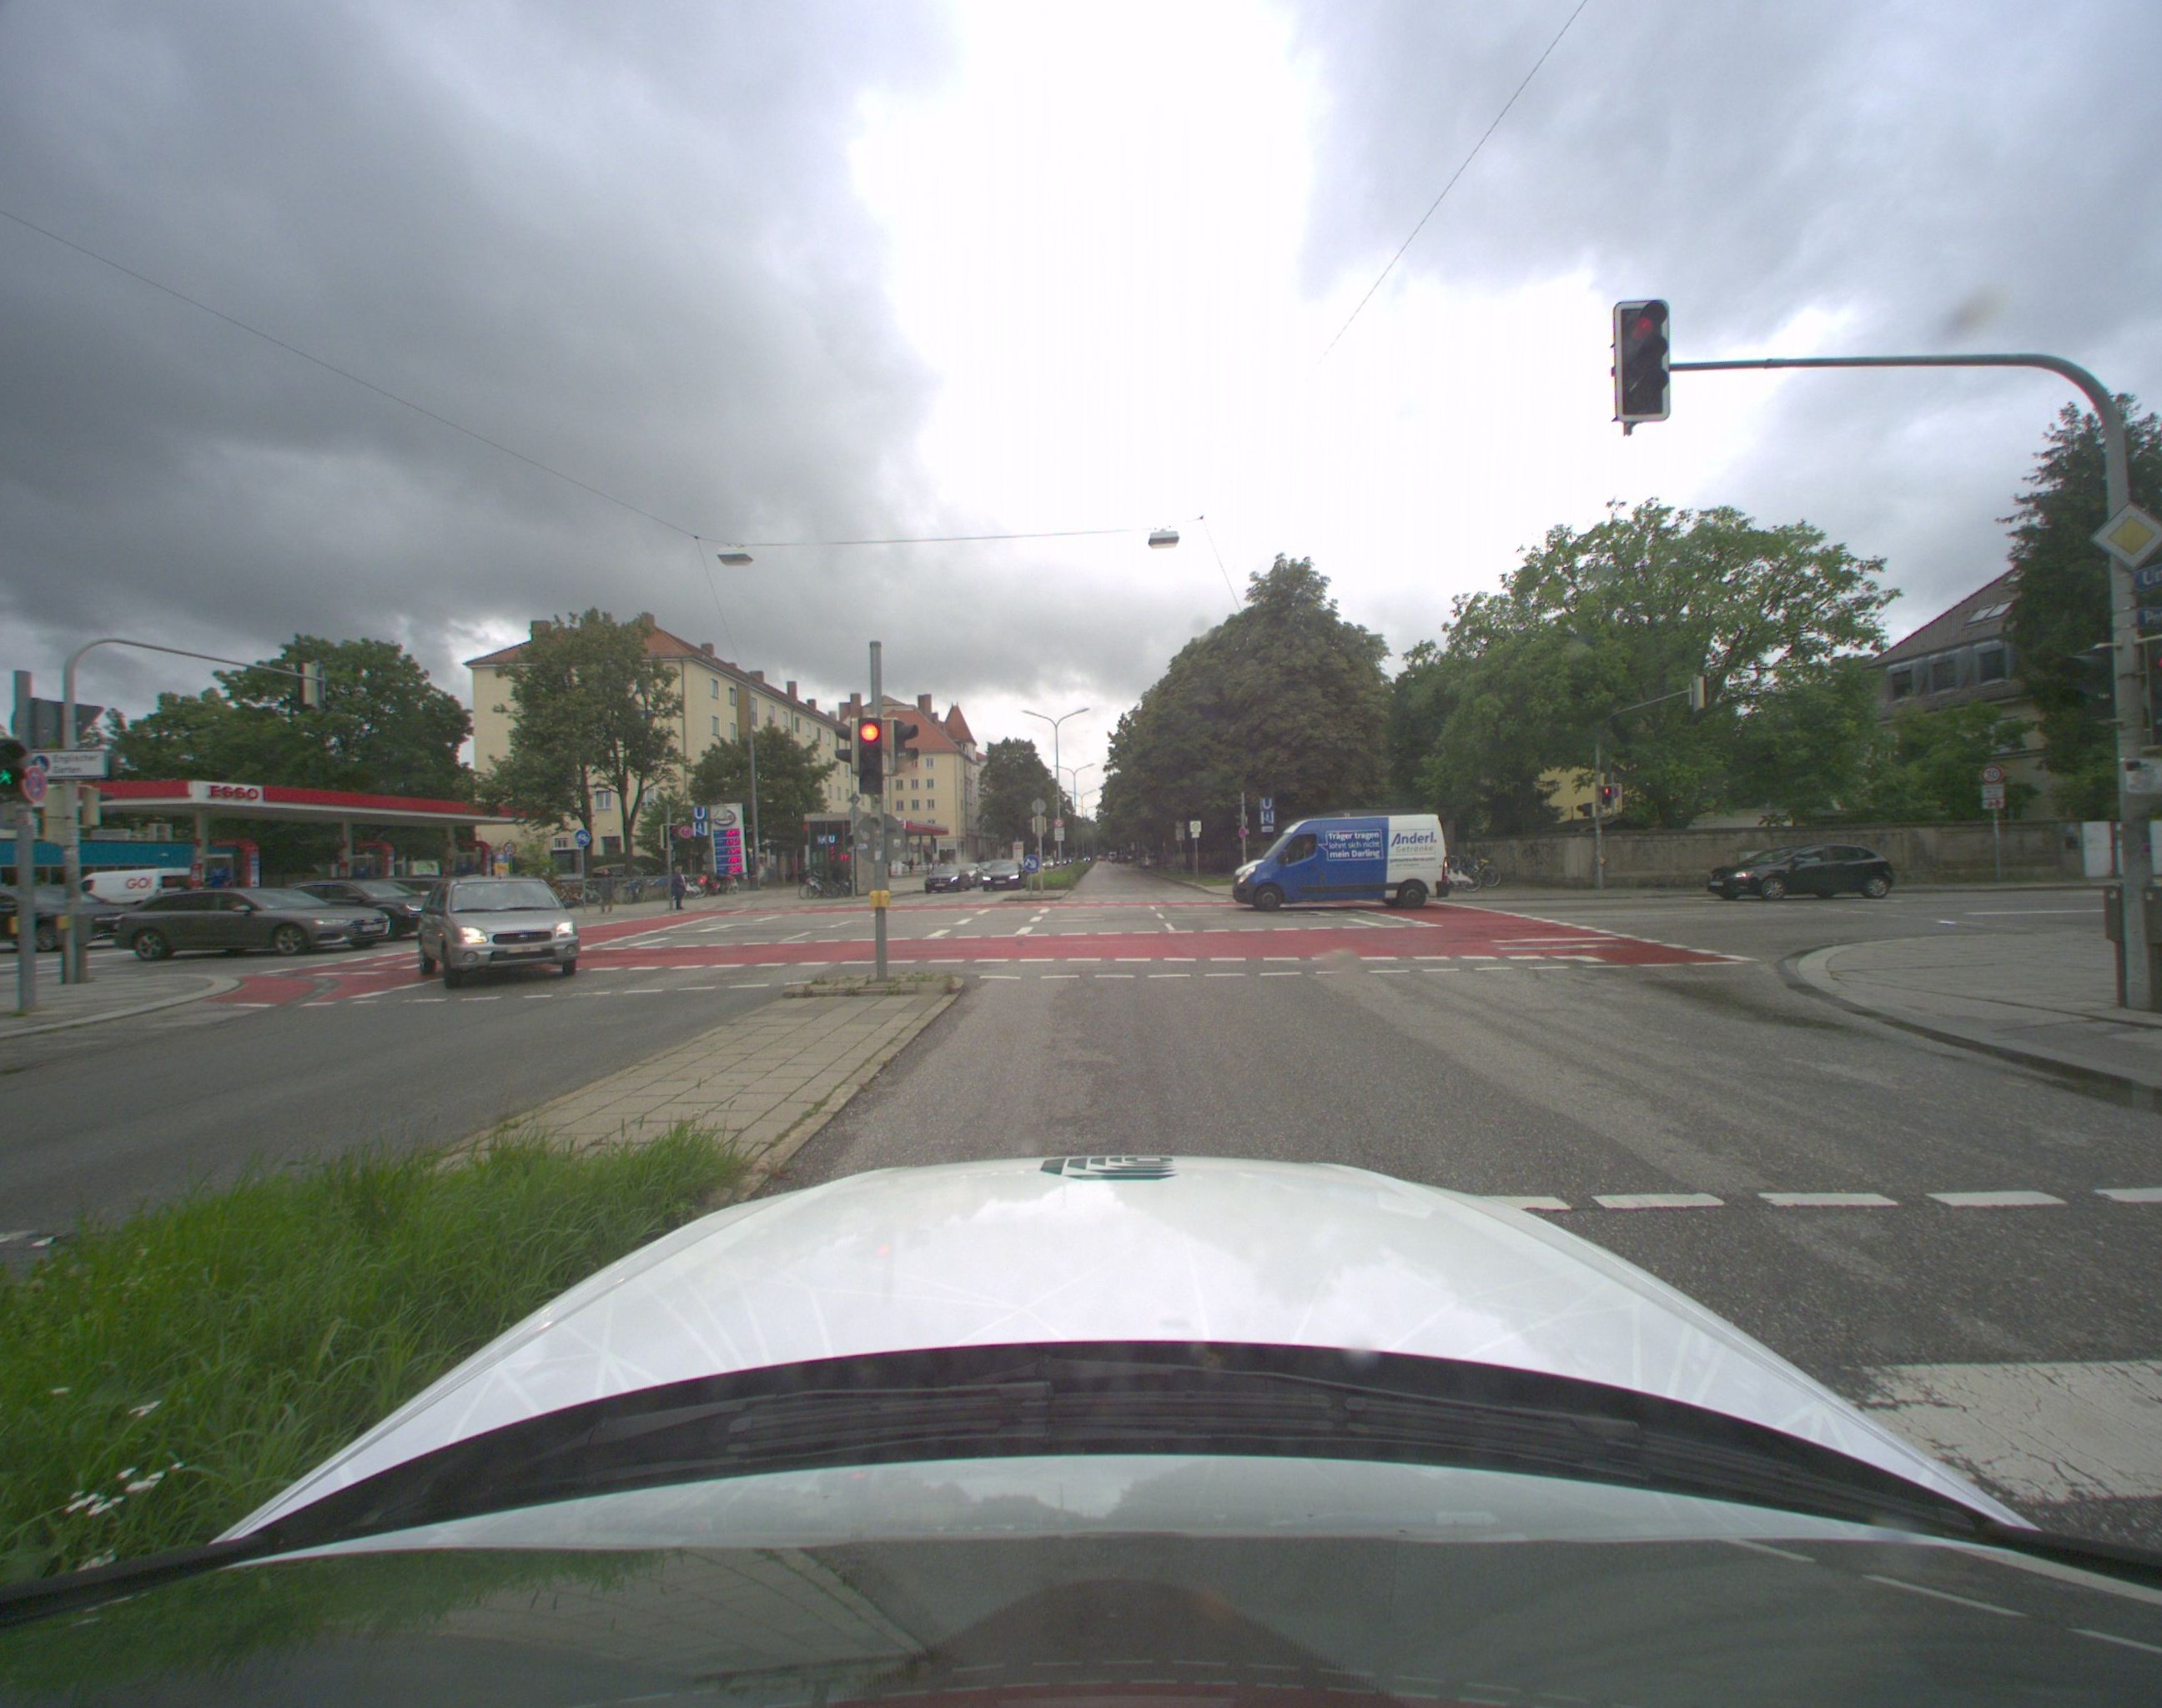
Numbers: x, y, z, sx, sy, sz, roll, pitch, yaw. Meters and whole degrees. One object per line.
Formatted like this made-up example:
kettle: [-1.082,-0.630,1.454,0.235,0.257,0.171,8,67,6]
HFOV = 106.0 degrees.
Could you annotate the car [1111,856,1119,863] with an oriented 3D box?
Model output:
car: [8.563,1.312,207.343,1.916,1.684,4.001,-2,0,1]

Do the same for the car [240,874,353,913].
car: [-40.200,2.001,41.809,3.973,1.784,1.858,-2,0,1]

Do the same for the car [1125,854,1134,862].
car: [9.595,0.812,161.425,1.737,1.427,3.900,-2,0,1]

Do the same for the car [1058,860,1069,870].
car: [-3.308,2.046,154.551,1.945,1.823,4.002,-2,0,2]

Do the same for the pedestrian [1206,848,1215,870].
pedestrian: [10.266,0.393,64.651,0.674,1.682,0.684,-2,0,7]

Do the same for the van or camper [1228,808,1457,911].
van or camper: [6.856,0.158,21.936,5.525,2.469,2.070,-2,0,5]

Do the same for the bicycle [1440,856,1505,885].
bicycle: [14.827,0.622,30.873,2.130,1.014,0.636,-2,0,9]

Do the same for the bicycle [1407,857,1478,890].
bicycle: [12.528,0.680,28.275,2.130,1.071,0.604,-2,0,9]

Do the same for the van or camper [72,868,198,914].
van or camper: [-51.888,1.992,44.723,4.523,2.323,1.918,-2,0,-1]

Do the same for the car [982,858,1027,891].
car: [-3.761,0.973,40.590,1.753,1.493,4.001,-2,0,1]

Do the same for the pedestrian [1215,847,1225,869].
pedestrian: [11.044,0.330,64.773,0.674,1.682,0.684,-2,0,7]

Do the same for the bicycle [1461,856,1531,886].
bicycle: [14.917,0.611,29.291,2.130,1.014,0.636,-2,0,9]

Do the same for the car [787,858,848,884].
car: [-20.150,1.269,62.437,3.976,1.838,1.879,-2,0,-2]

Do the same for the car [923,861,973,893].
car: [-6.775,1.133,41.874,1.753,1.460,4.001,-2,0,1]

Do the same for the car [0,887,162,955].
car: [-25.768,1.675,20.464,3.317,1.514,1.694,-2,0,-2]

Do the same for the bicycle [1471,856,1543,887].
bicycle: [14.889,0.603,28.524,2.130,1.014,0.636,-2,0,9]

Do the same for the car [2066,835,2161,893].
car: [27.978,0.207,20.805,3.673,1.397,1.641,-2,0,-1]

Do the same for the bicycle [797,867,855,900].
bicycle: [-11.028,1.270,35.264,2.262,1.304,0.704,-2,0,2]

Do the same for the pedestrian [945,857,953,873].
pedestrian: [-13.727,1.109,84.539,0.693,1.638,0.738,-2,0,1]

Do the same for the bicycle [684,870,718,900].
bicycle: [-17.187,1.385,36.870,0.607,1.236,2.183,-2,0,-5]

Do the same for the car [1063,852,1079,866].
car: [-1.049,0.521,85.776,1.463,1.399,3.701,-2,0,1]

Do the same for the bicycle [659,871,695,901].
bicycle: [-17.867,1.401,36.055,0.607,1.236,2.183,-2,0,-5]

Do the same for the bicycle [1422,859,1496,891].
bicycle: [12.727,0.696,27.465,2.130,1.014,0.636,-2,0,9]

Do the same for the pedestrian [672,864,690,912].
pedestrian: [-14.599,1.229,29.740,0.536,1.695,0.572,-2,0,-24]

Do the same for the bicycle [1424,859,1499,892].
bicycle: [12.511,0.711,26.844,2.130,1.014,0.604,-2,0,9]

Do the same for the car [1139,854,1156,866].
car: [8.122,0.733,99.711,1.737,1.363,3.807,-2,0,1]

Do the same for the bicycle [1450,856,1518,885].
bicycle: [14.858,0.616,30.087,2.130,1.014,0.636,-2,0,9]

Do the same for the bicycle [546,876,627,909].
bicycle: [-19.593,1.504,32.336,2.720,1.251,0.786,0,-1,-29]

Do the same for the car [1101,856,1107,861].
car: [6.846,1.374,246.139,1.850,1.684,4.001,-2,0,1]

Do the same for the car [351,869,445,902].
car: [-40.704,1.883,48.611,3.973,1.784,1.858,-2,0,1]

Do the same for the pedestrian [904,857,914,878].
pedestrian: [-16.572,1.341,78.495,0.727,2.014,0.835,0,-1,1]

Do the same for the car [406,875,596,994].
car: [-9.079,1.129,12.643,3.585,1.517,1.674,-2,0,43]

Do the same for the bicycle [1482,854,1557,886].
bicycle: [14.916,0.549,27.726,2.130,1.014,0.636,-2,0,9]

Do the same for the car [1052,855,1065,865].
car: [-3.276,0.883,120.143,1.753,1.460,4.001,-2,0,1]

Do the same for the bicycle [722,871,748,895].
bicycle: [-17.411,1.433,41.023,0.607,1.145,1.962,-2,0,-5]

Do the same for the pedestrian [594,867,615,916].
pedestrian: [-16.730,1.309,28.600,0.593,1.695,0.571,-1,0,-29]

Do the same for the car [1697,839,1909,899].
car: [18.523,0.377,21.052,3.818,1.397,1.699,-2,0,7]

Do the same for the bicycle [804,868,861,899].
bicycle: [-10.980,1.297,36.043,2.276,1.304,0.694,-2,0,2]

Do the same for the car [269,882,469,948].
car: [-17.526,1.473,20.148,3.532,1.412,1.666,-2,0,3]

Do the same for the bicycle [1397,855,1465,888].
bicycle: [12.408,0.615,28.932,2.130,1.101,0.604,-2,0,9]

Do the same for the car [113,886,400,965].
car: [-17.462,1.480,17.398,4.303,1.412,1.663,-2,0,-2]

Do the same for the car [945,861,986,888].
car: [-6.852,1.198,48.853,1.753,1.460,4.001,-2,0,1]

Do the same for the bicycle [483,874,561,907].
bicycle: [-21.887,1.417,31.938,2.394,1.251,0.789,0,-1,-10]

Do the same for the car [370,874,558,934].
car: [-17.983,1.433,23.871,4.154,1.514,1.695,-2,0,0]

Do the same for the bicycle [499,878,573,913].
bicycle: [-20.899,1.576,31.280,2.180,1.236,0.763,-2,0,-10]

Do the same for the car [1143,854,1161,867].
car: [7.764,0.684,89.641,1.737,1.363,3.807,-2,0,1]
